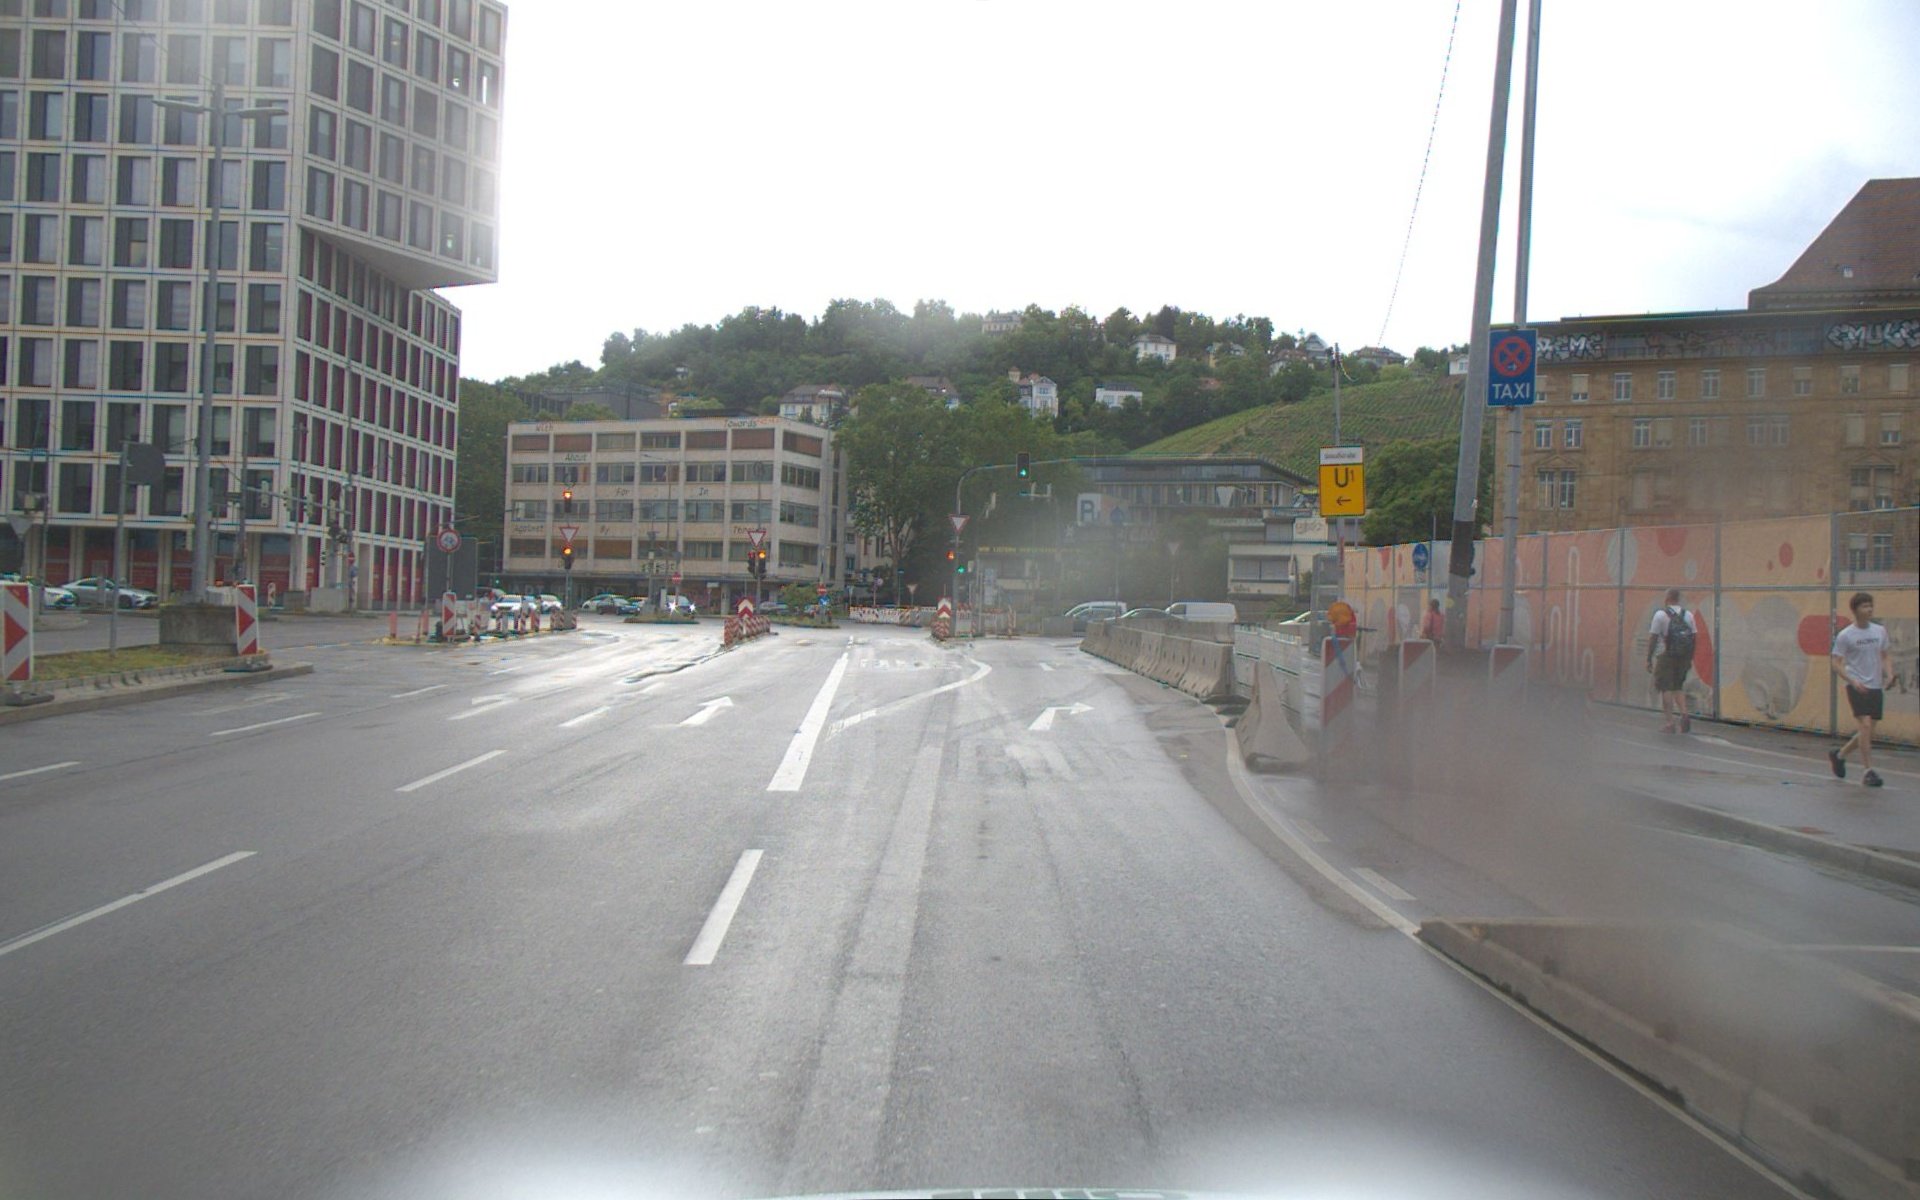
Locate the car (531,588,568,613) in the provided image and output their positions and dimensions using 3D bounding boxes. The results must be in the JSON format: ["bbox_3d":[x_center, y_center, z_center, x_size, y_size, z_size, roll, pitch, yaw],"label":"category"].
[{"bbox_3d":[-32.572,0.030,131.255,1.781,1.847,3.959,2,0,-31],"label":"car"}]

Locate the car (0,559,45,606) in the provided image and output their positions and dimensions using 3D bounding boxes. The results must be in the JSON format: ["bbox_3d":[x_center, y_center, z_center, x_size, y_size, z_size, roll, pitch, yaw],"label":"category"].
[{"bbox_3d":[-41.721,-0.767,69.925,4.962,1.937,2.089,1,0,4],"label":"car"}]

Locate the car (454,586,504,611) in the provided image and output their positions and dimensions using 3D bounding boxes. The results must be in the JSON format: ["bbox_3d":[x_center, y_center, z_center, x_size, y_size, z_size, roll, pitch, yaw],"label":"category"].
[{"bbox_3d":[-37.909,-0.087,130.423,3.923,1.847,1.798,2,0,38],"label":"car"}]

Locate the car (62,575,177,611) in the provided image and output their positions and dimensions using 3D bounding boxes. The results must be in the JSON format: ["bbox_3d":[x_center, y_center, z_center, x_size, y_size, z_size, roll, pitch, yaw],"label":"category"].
[{"bbox_3d":[-40.499,-0.346,79.775,4.549,1.626,2.020,1,0,6],"label":"car"}]

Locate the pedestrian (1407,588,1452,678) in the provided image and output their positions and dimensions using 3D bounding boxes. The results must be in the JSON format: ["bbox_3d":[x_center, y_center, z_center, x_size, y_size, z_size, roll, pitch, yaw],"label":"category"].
[{"bbox_3d":[10.144,0.704,35.754,0.705,1.899,0.709,1,0,-4],"label":"pedestrian"}]

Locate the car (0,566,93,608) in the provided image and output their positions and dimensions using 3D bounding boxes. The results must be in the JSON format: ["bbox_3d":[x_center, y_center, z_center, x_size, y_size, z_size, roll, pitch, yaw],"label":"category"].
[{"bbox_3d":[-41.288,-0.604,73.364,4.551,1.769,2.019,1,0,2],"label":"car"}]

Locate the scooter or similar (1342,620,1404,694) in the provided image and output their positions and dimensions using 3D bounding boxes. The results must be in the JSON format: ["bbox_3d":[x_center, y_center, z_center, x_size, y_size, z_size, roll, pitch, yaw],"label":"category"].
[{"bbox_3d":[7.096,0.964,28.456,0.459,1.204,1.411,2,0,-11],"label":"scooter or similar"}]

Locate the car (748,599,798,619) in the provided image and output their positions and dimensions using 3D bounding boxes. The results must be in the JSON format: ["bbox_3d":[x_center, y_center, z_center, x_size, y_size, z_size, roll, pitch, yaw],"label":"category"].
[{"bbox_3d":[-15.446,0.729,136.584,3.994,1.518,1.730,2,0,34],"label":"car"}]

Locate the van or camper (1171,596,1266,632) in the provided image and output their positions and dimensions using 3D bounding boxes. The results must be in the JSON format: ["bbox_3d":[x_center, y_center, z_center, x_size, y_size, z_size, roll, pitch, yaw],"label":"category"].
[{"bbox_3d":[14.890,0.792,95.490,5.093,1.927,1.886,1,0,-4],"label":"van or camper"}]

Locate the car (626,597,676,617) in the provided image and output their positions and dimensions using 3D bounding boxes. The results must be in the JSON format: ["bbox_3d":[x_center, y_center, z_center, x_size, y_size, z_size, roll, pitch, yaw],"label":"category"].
[{"bbox_3d":[-24.696,0.541,132.190,3.924,1.512,1.827,1,0,39],"label":"car"}]

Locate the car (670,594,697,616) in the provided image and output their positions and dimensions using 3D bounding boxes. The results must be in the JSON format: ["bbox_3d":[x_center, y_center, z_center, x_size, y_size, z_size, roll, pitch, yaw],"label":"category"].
[{"bbox_3d":[-20.208,0.342,120.783,1.797,1.512,3.990,1,0,-10],"label":"car"}]

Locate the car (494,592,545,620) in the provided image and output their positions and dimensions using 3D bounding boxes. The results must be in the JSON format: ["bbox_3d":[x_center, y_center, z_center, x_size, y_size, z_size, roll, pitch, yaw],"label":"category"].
[{"bbox_3d":[-28.628,0.404,107.653,2.178,1.784,4.809,1,0,-3],"label":"car"}]

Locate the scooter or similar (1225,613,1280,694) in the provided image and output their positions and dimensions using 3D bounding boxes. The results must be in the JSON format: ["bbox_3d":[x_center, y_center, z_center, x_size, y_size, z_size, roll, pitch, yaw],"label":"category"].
[{"bbox_3d":[4.698,0.847,26.680,0.660,1.236,1.572,1,0,3],"label":"scooter or similar"}]

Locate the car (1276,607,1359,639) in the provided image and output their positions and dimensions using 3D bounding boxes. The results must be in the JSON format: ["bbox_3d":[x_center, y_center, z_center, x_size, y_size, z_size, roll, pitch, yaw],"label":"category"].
[{"bbox_3d":[19.929,1.274,92.292,4.275,1.703,1.848,1,0,1],"label":"car"}]

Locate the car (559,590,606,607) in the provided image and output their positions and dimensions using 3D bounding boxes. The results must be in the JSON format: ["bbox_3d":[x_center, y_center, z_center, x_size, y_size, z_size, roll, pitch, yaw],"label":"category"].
[{"bbox_3d":[-34.807,-0.133,152.544,3.983,1.518,1.735,2,0,24],"label":"car"}]

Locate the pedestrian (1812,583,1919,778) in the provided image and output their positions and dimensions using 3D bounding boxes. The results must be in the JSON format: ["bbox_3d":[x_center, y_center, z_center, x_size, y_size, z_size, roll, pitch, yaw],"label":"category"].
[{"bbox_3d":[8.634,0.736,15.592,0.670,1.771,0.907,1,0,-4],"label":"pedestrian"}]

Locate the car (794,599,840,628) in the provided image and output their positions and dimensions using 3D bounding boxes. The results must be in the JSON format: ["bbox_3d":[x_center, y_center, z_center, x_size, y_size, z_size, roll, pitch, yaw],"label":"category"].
[{"bbox_3d":[-10.810,1.027,124.577,1.972,2.049,3.961,2,0,-30],"label":"car"}]

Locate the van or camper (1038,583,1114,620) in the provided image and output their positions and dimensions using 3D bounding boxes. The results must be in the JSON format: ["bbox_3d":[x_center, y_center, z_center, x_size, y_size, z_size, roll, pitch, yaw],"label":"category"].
[{"bbox_3d":[6.659,0.074,95.342,4.158,2.013,1.850,1,0,-4],"label":"van or camper"}]

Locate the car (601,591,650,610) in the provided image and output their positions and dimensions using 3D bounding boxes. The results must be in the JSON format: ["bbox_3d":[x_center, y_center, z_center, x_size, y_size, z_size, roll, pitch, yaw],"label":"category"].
[{"bbox_3d":[-29.290,0.037,144.691,3.985,1.518,1.734,2,0,26],"label":"car"}]

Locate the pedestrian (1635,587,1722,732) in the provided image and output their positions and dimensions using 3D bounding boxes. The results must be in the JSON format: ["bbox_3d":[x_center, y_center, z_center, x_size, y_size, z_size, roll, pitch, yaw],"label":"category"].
[{"bbox_3d":[9.691,0.781,22.344,0.689,1.899,0.990,1,0,-1],"label":"pedestrian"}]
